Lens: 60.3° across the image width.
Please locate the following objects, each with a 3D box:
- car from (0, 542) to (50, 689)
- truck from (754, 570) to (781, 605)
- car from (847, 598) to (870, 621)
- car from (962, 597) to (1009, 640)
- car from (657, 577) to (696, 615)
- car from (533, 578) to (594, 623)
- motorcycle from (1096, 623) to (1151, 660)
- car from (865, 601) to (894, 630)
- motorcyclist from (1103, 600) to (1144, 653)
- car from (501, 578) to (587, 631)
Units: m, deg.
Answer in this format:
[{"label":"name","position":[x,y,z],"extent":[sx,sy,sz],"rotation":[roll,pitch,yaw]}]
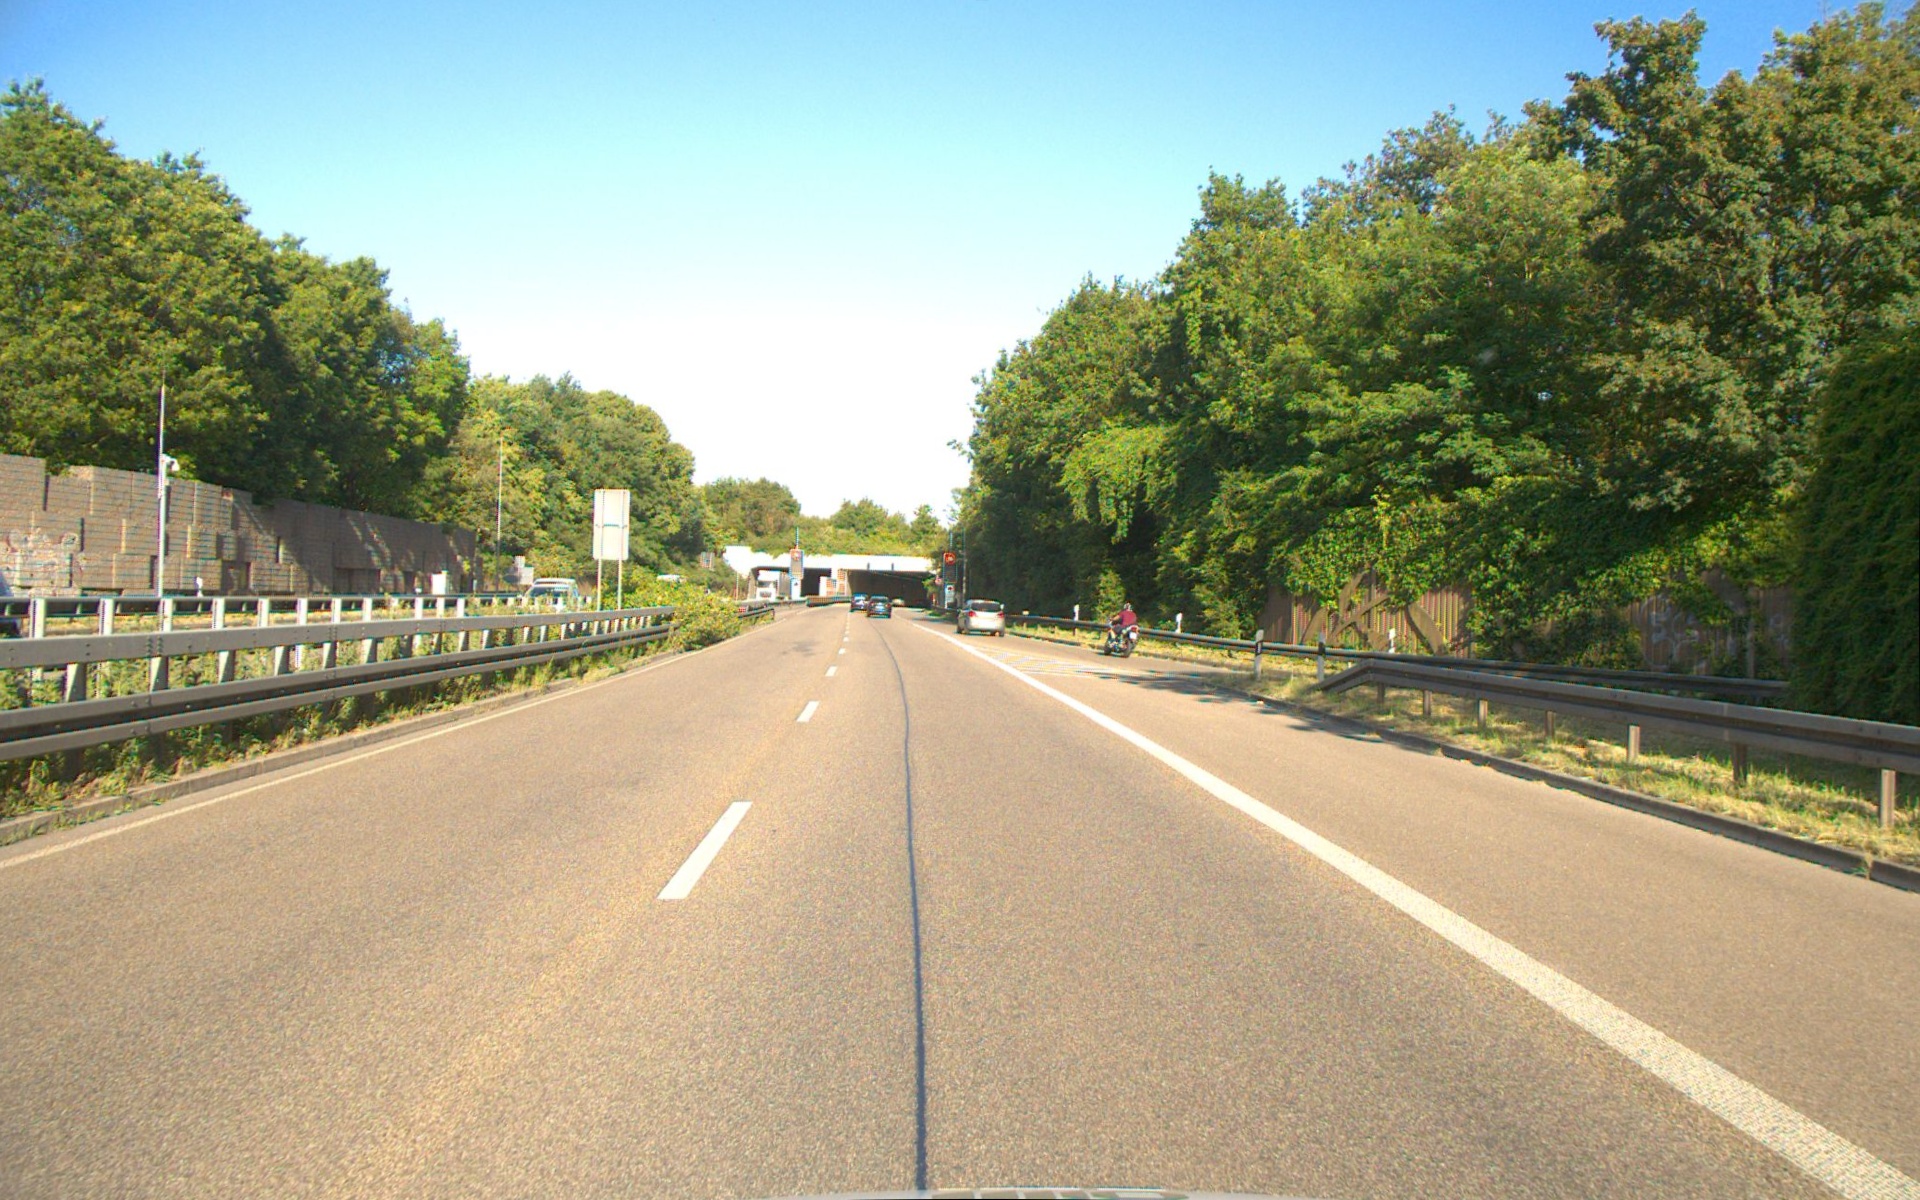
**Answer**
[{"label":"car","position":[-11.404,0.180,16.931],"extent":[1.953,1.606,4.246],"rotation":[1,1,-3]},{"label":"truck","position":[-24.584,-1.608,211.186],"extent":[2.681,4.335,6.384],"rotation":[3,1,-3]},{"label":"car","position":[-9.150,0.841,149.225],"extent":[1.954,1.959,3.997],"rotation":[2,0,-4]},{"label":"car","position":[1.028,0.743,69.454],"extent":[1.634,1.579,3.998],"rotation":[3,1,-3]},{"label":"car","position":[-21.320,-0.363,124.570],"extent":[2.105,2.656,6.048],"rotation":[3,1,-4]},{"label":"car","position":[-17.892,-0.014,74.828],"extent":[1.786,1.853,4.619],"rotation":[3,1,-3]},{"label":"motorcycle","position":[4.945,1.242,50.154],"extent":[0.843,1.008,2.720],"rotation":[3,0,-12]},{"label":"car","position":[-5.815,1.112,119.576],"extent":[1.954,1.959,3.997],"rotation":[2,0,-4]},{"label":"motorcyclist","position":[4.954,0.797,50.213],"extent":[0.868,1.527,1.060],"rotation":[3,1,-12]},{"label":"car","position":[-13.259,0.115,52.934],"extent":[1.786,1.506,4.618],"rotation":[3,1,-4]}]
